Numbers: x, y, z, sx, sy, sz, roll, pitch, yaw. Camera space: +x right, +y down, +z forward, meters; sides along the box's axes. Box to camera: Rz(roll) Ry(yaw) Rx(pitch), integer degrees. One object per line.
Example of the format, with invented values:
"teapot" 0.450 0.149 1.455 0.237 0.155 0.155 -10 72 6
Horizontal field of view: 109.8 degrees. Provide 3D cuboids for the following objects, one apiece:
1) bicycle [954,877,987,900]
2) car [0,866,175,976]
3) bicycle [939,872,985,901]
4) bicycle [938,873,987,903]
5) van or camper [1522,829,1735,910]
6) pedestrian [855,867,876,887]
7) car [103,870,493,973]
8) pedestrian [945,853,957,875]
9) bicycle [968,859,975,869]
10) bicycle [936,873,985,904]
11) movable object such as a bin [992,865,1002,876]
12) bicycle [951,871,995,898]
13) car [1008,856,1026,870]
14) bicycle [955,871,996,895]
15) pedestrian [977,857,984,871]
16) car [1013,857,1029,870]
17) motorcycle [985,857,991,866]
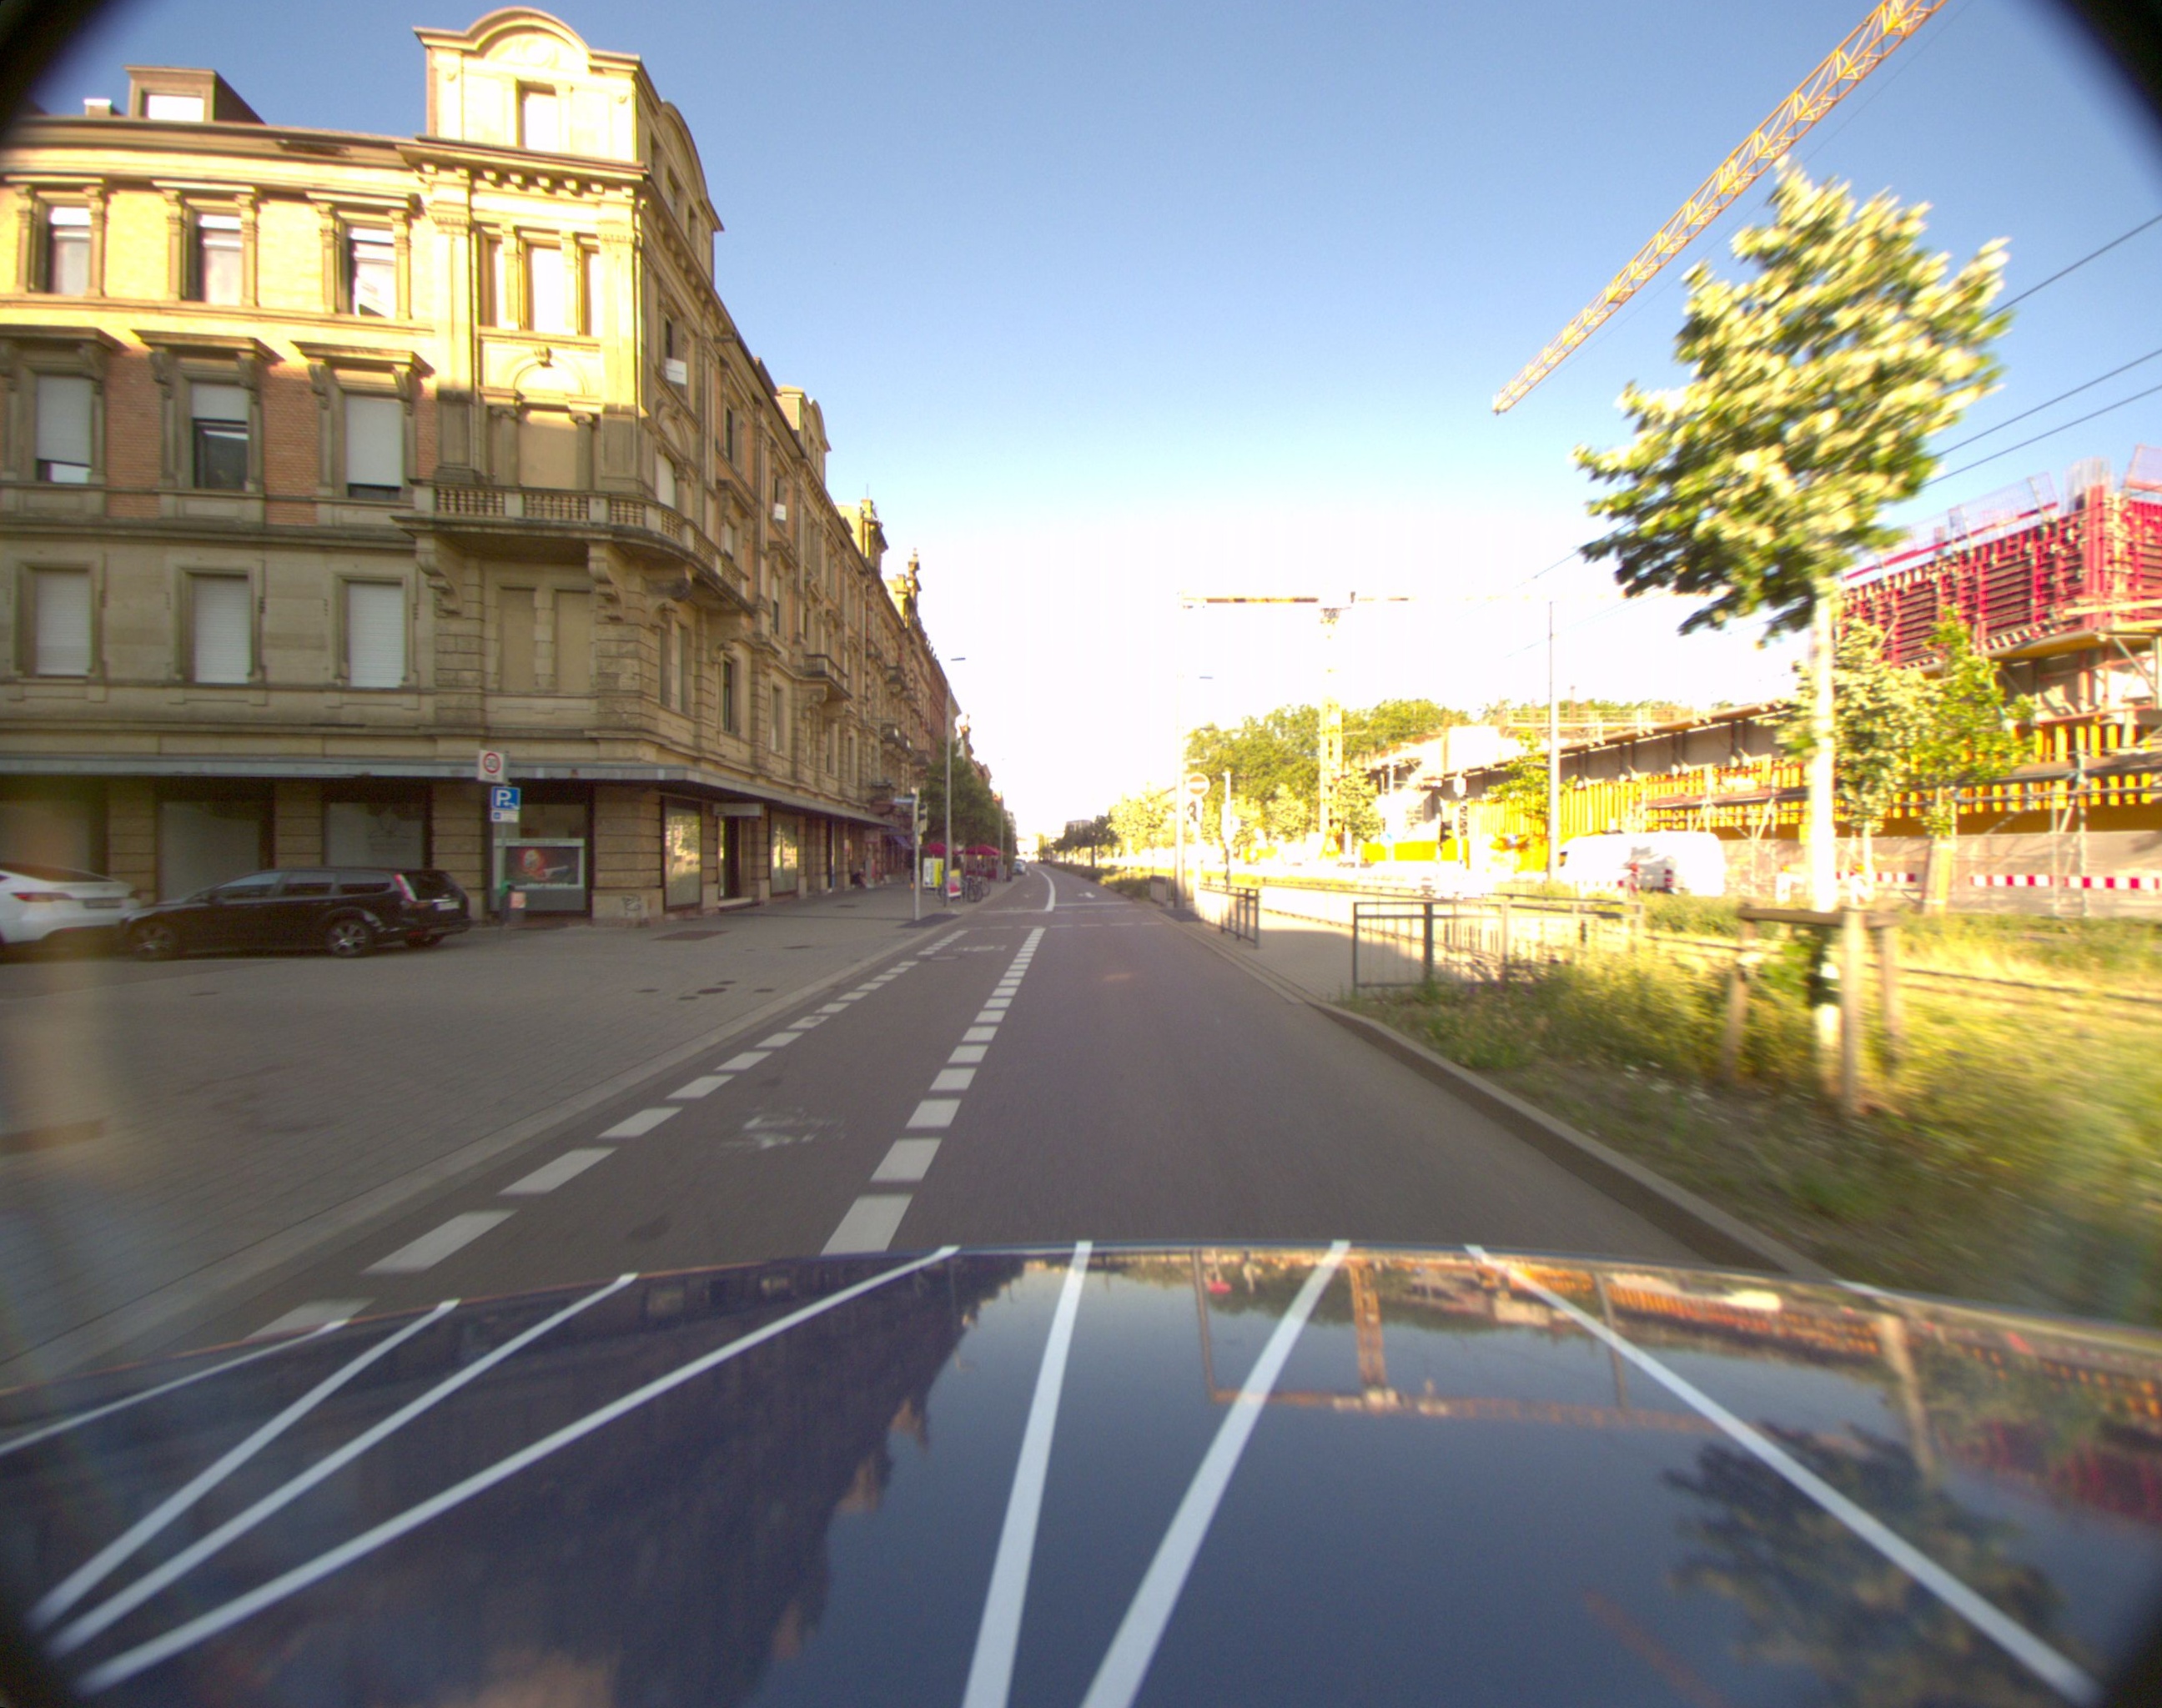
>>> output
"bicycle" -4.691 1.464 32.327 1.277 0.872 0.507 2 0 2
"car" -17.967 1.041 12.008 4.554 1.586 1.861 -1 1 -8
"bicycle" -4.832 1.298 30.874 1.725 1.098 0.507 2 0 2
"bicycle" -4.603 1.310 29.601 1.758 1.098 0.507 2 0 2
"van or camper" 19.560 0.541 27.810 2.228 2.495 7.199 2 -1 -3
"pedestrian" -10.803 1.153 38.103 0.816 0.957 0.804 0 0 -1
"car" -12.827 1.047 12.753 4.275 1.441 1.861 -1 1 -8
"pedestrian" -9.293 0.728 54.503 0.730 1.525 0.796 2 0 -4
"bicycle" -14.448 1.314 100.127 0.706 1.213 2.072 -1 0 -4
"bicycle" -4.598 1.320 29.010 1.758 1.098 0.507 2 0 2
"movable object such as a bin" -7.330 1.437 66.525 0.676 0.919 0.561 3 1 17
"bicycle" -4.819 1.359 33.974 1.848 1.098 0.566 2 0 2
"car" -7.277 1.020 86.980 1.854 1.555 4.295 1 0 -3
"bicycle" -4.929 1.341 35.481 1.809 1.041 0.566 2 0 2
"pedestrian" -12.180 1.225 92.484 0.749 1.744 1.071 1 0 -3
"car" -7.432 1.160 93.581 1.854 1.445 5.250 1 0 -5
"motorcycle" -15.746 1.257 128.389 0.788 1.413 2.053 0 0 -3
